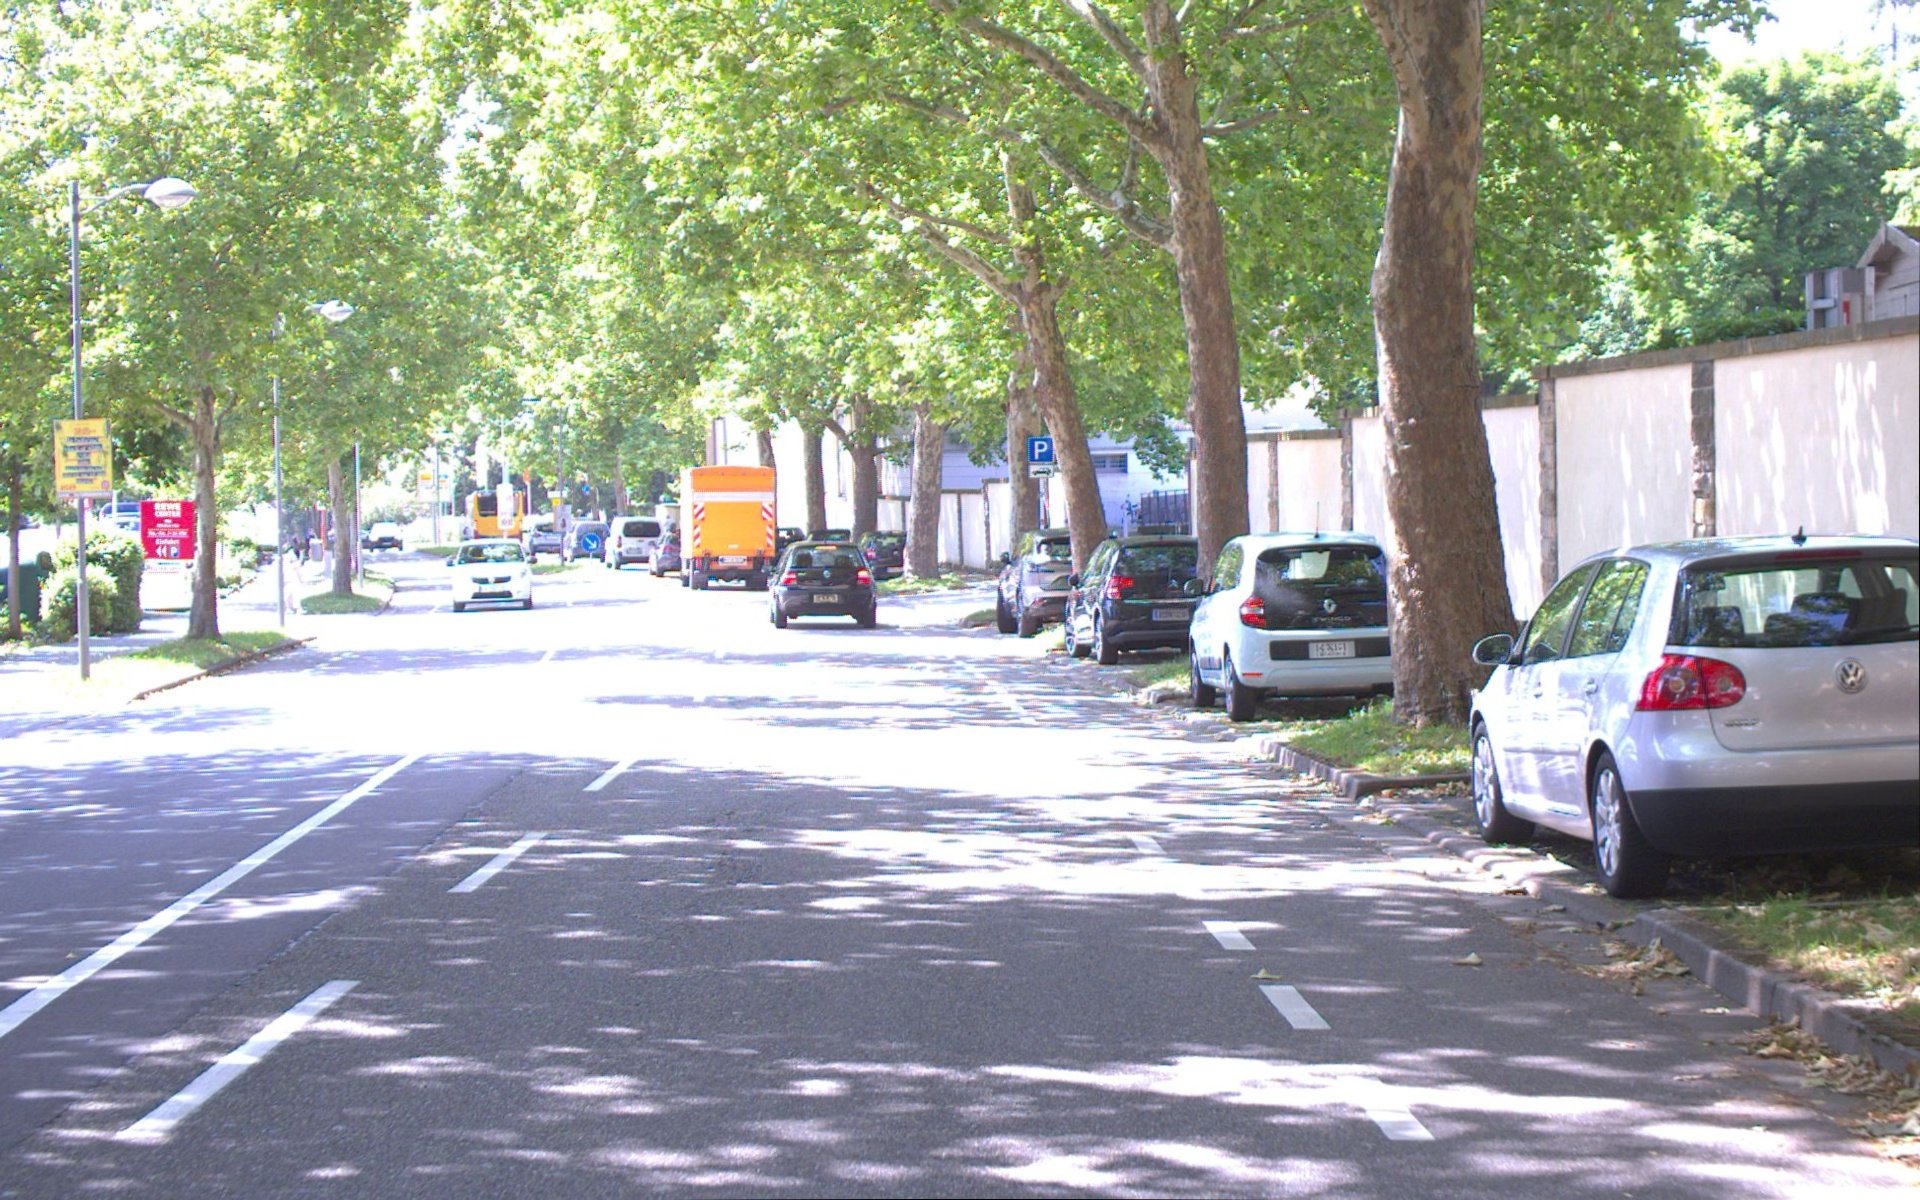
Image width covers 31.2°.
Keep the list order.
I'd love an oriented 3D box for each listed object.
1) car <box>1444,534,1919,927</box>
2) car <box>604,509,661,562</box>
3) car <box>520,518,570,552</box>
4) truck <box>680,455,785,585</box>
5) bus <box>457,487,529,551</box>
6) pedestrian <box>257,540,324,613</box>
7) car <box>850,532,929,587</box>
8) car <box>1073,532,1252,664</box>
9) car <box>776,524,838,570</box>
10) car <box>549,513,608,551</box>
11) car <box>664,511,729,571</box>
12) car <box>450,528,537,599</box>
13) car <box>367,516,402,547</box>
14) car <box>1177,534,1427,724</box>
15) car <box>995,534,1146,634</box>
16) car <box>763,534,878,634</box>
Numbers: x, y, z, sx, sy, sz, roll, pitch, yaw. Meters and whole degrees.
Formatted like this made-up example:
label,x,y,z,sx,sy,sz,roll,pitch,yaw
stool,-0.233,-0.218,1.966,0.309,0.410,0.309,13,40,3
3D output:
label,x,y,z,sx,sy,sz,roll,pitch,yaw
car,3.388,0.466,15.160,1.766,1.428,3.876,-3,1,-2
car,-11.282,-2.191,118.333,1.879,1.680,4.001,-2,0,-5
car,-18.282,-2.840,151.386,1.766,1.369,3.731,-3,1,-13
truck,-5.933,-2.024,89.119,2.370,3.123,5.770,-1,0,-6
bus,-24.742,-4.231,181.694,2.663,3.140,11.201,-2,1,-13
pedestrian,-14.161,-0.498,72.746,0.967,1.515,1.096,-1,1,18
car,-1.836,-1.043,88.848,1.766,1.369,3.730,-1,1,-5
car,2.443,-0.055,42.254,1.766,1.461,3.876,-3,1,-2
car,-4.955,-1.709,111.245,1.766,1.369,3.730,-3,1,-5
car,-14.922,-2.646,134.374,1.766,1.369,3.731,-3,1,-13
car,-8.055,-1.777,104.971,1.776,1.698,4.001,-2,0,-7
car,-10.119,-0.803,74.754,1.710,1.442,4.059,-2,1,-6
car,-33.034,-3.905,197.296,1.720,1.711,4.001,-1,1,-13
car,2.894,0.203,29.806,1.577,1.461,3.876,-3,1,-2
car,1.630,-0.256,51.943,1.766,1.369,3.730,-3,1,-5
car,-2.402,-0.302,58.430,1.711,1.442,4.059,-2,3,-5
